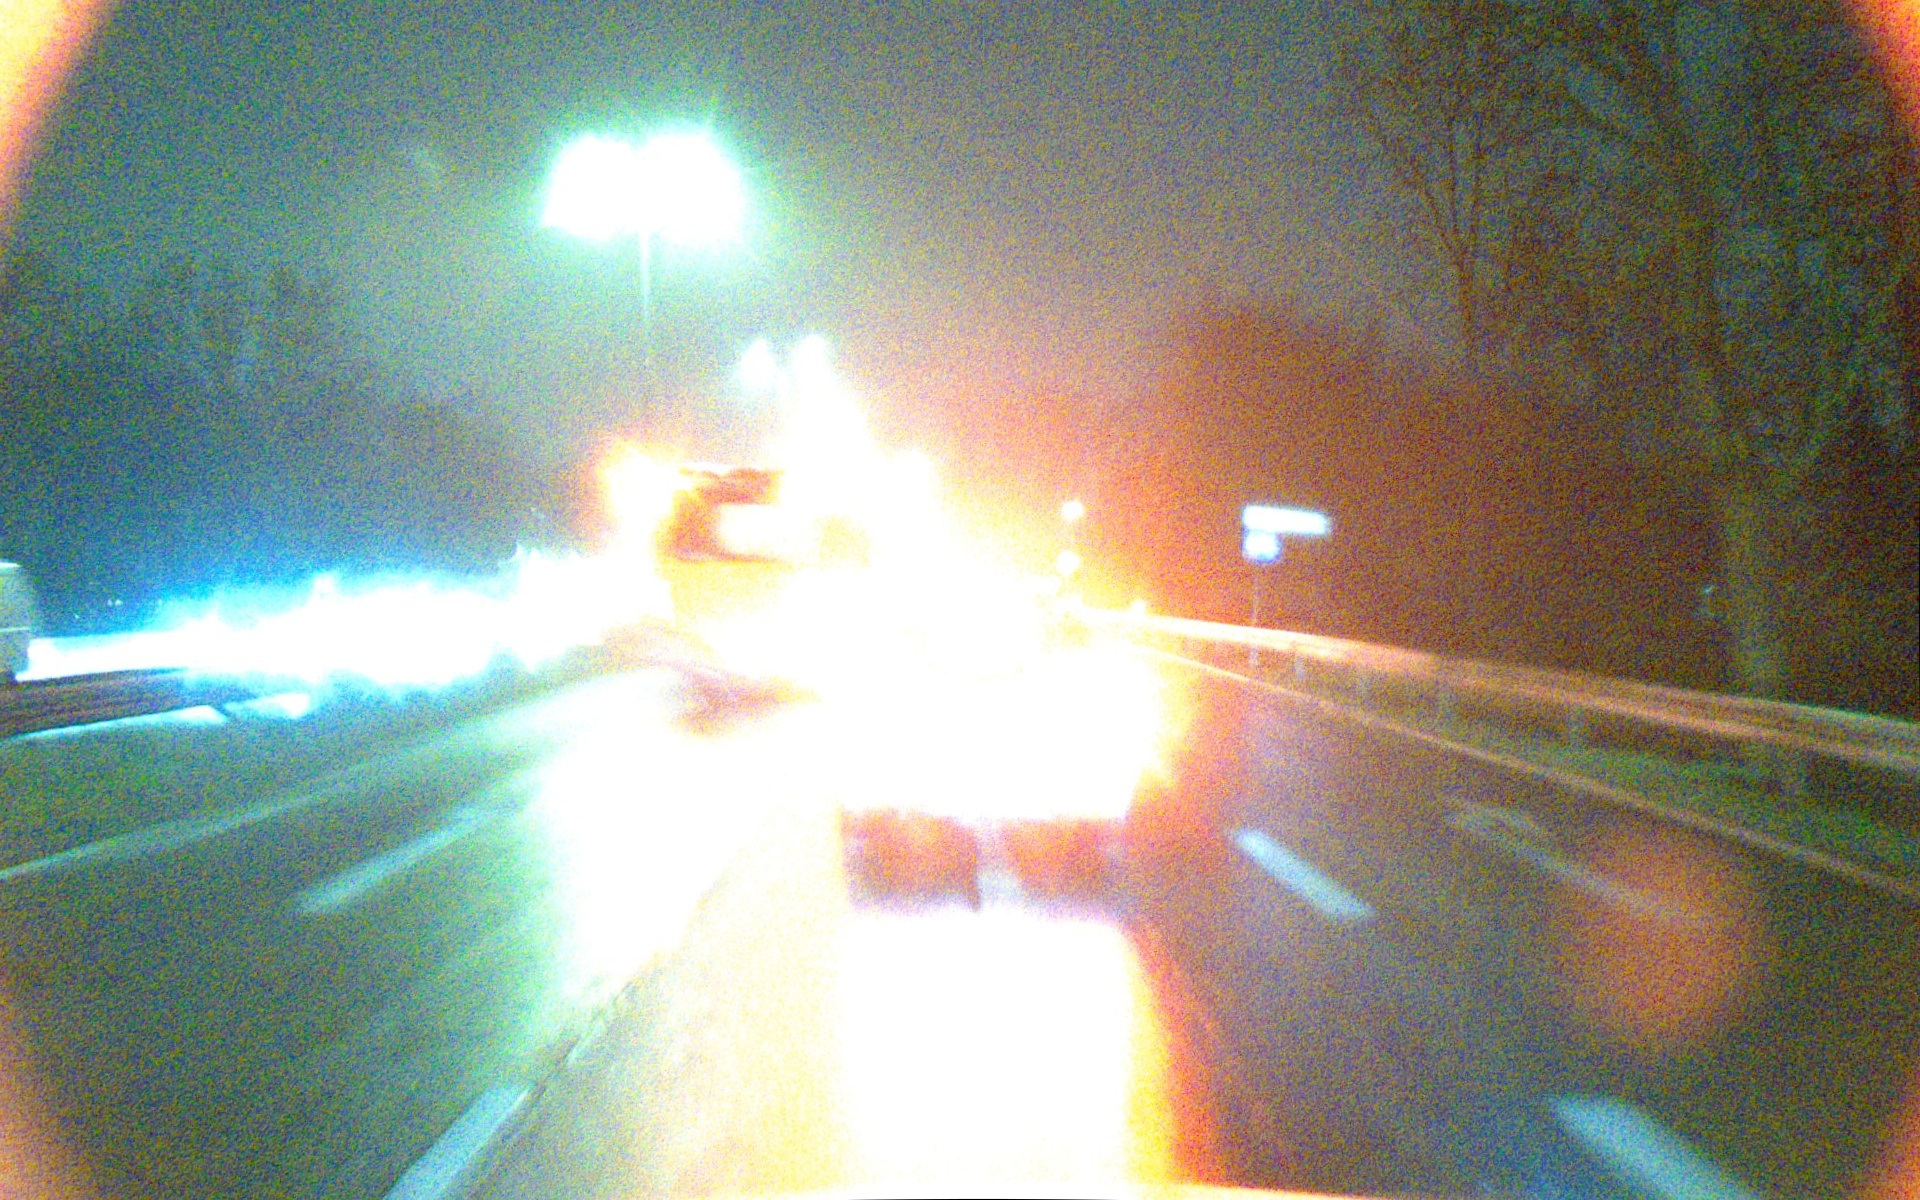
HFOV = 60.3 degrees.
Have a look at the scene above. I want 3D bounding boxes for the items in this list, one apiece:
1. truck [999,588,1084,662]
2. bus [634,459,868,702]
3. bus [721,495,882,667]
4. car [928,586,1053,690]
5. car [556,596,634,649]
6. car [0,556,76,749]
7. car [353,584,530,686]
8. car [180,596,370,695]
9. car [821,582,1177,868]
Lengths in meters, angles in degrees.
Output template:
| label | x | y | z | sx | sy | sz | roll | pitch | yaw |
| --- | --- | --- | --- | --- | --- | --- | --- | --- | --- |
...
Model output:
| label | x | y | z | sx | sy | sz | roll | pitch | yaw |
| --- | --- | --- | --- | --- | --- | --- | --- | --- | --- |
| truck | 3.179 | 0.980 | 63.665 | 3.005 | 2.573 | 7.169 | 2 | -1 | 4 |
| bus | -3.067 | -0.299 | 26.867 | 2.688 | 3.178 | 9.199 | 2 | 0 | -1 |
| bus | -3.219 | -0.403 | 35.837 | 2.688 | 3.178 | 8.702 | 2 | 0 | -1 |
| car | 0.439 | 0.554 | 25.726 | 1.784 | 1.487 | 3.715 | 1 | 0 | 0 |
| car | -13.709 | 0.853 | 62.384 | 1.953 | 1.840 | 4.199 | 2 | -1 | 0 |
| car | -9.902 | 0.442 | 14.381 | 1.953 | 1.805 | 4.703 | 2 | -1 | -2 |
| car | -10.233 | 0.686 | 33.057 | 2.121 | 1.805 | 4.703 | 2 | -1 | -2 |
| car | -13.804 | 0.891 | 33.669 | 1.953 | 1.805 | 4.703 | 2 | -1 | -2 |
| car | 0.220 | 0.681 | 10.782 | 1.904 | 1.517 | 3.716 | 1 | 0 | 0 |
